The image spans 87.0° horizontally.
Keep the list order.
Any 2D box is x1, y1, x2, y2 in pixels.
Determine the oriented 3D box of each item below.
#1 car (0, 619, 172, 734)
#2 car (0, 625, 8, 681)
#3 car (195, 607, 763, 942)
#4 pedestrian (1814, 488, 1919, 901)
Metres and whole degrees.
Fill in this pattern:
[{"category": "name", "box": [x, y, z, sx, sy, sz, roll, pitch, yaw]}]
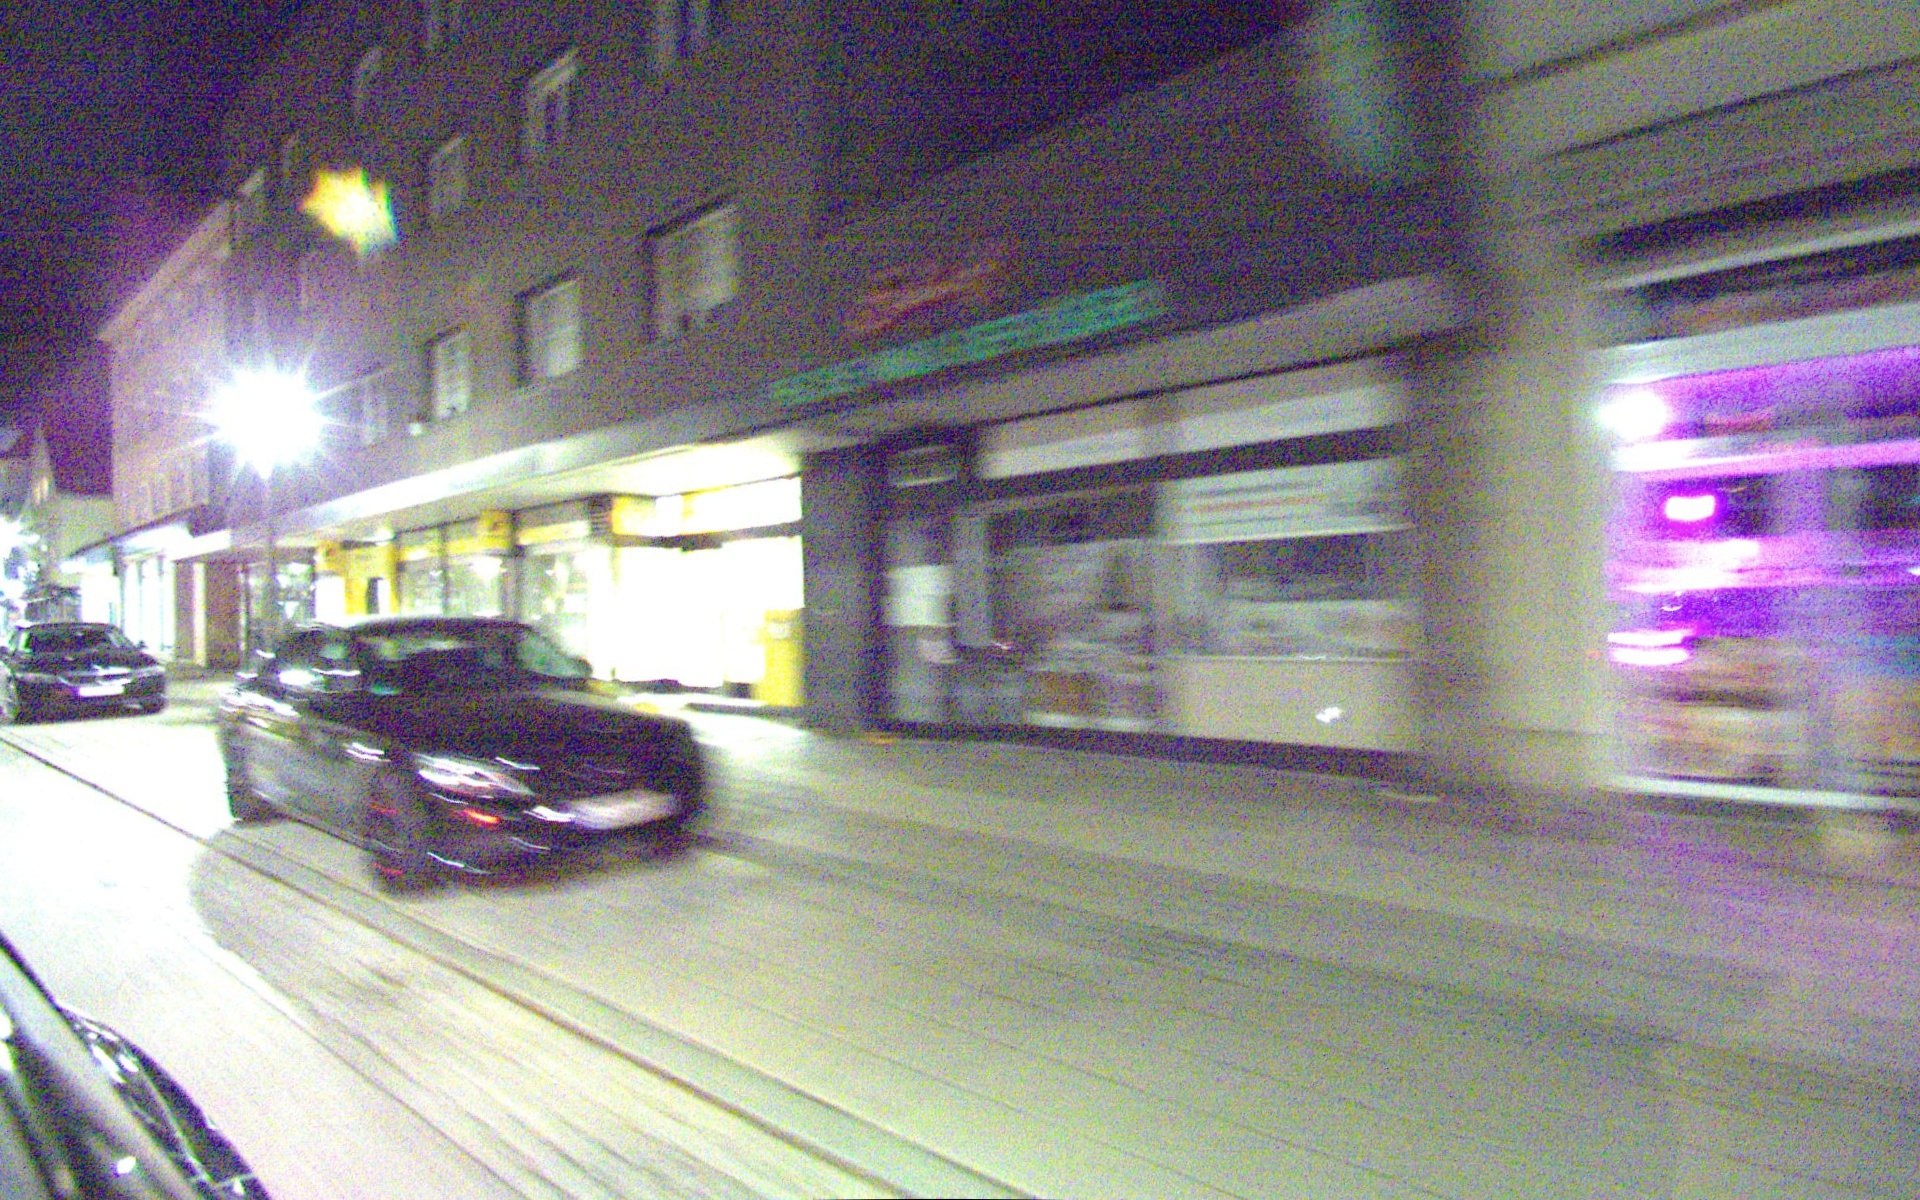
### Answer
[{"category": "car", "box": [-14.084, 1.097, 15.908, 4.318, 1.489, 1.779, -1, 1, 40]}, {"category": "car", "box": [-27.651, 1.459, 27.646, 4.618, 1.475, 1.827, -2, 0, 39]}, {"category": "car", "box": [-3.328, 0.817, 6.527, 4.383, 1.423, 1.699, -2, 0, 41]}, {"category": "pedestrian", "box": [4.430, 0.399, 4.424, 1.022, 1.758, 0.614, -2, -1, 41]}]
